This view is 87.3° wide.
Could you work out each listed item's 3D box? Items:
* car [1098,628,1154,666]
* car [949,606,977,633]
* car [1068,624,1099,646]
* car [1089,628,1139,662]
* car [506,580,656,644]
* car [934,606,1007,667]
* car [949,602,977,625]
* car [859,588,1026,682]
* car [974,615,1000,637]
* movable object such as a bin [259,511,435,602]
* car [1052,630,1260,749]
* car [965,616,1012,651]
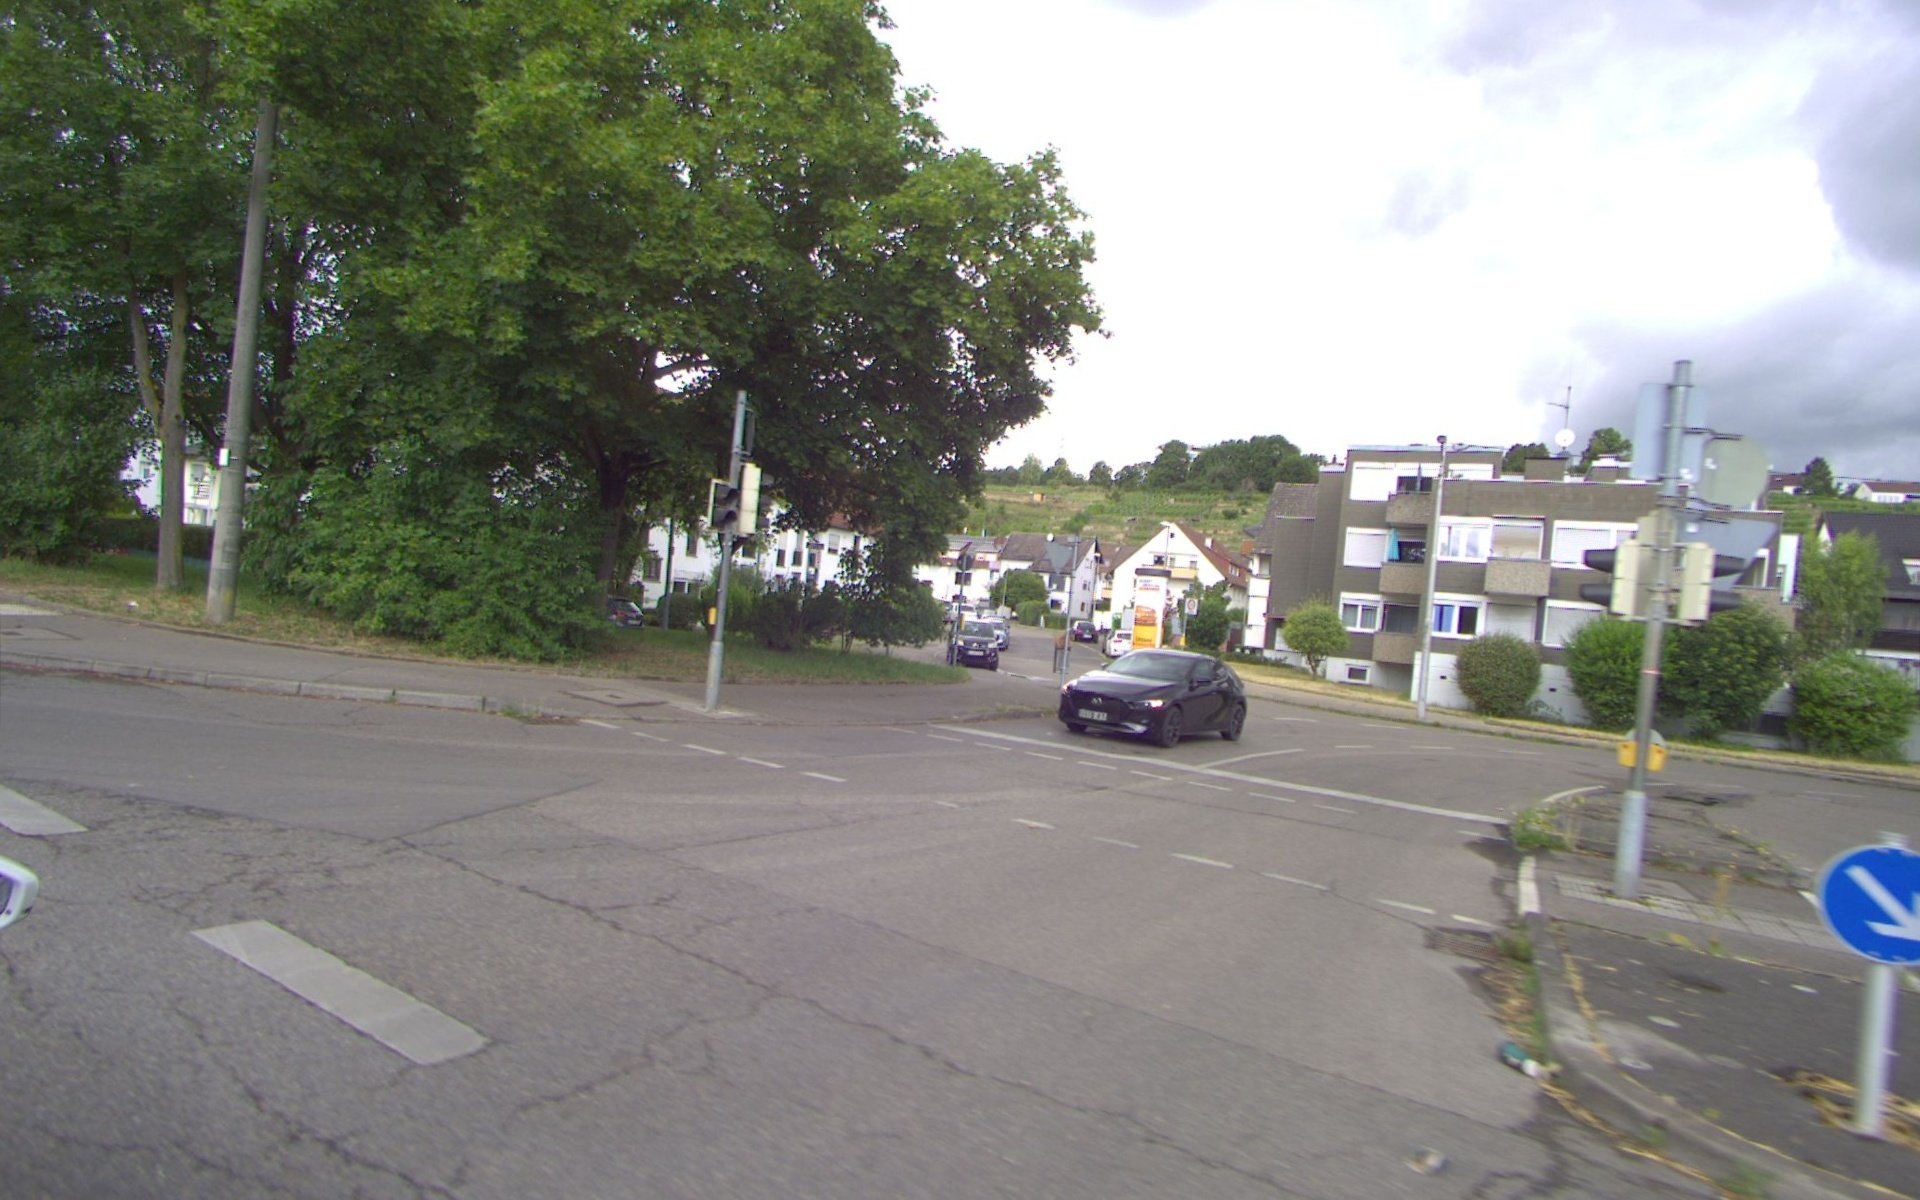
[{"bbox_3d":[8.276,2.335,50.497,1.963,1.536,3.999,7,-1,-1],"label":"car"},{"bbox_3d":[0.278,1.708,90.071,1.964,2.151,4.466,7,0,-4],"label":"car"},{"bbox_3d":[8.864,2.468,72.239,1.693,1.258,3.651,7,0,1],"label":"car"},{"bbox_3d":[8.529,2.455,55.968,1.963,1.536,3.999,7,-1,-1],"label":"car"},{"bbox_3d":[-12.120,0.382,32.225,4.208,1.478,1.667,7,-2,17],"label":"car"},{"bbox_3d":[0.294,1.297,35.579,1.965,1.785,4.000,7,-2,-6],"label":"car"},{"bbox_3d":[0.266,1.209,89.837,1.964,1.775,4.466,7,0,-4],"label":"car"},{"bbox_3d":[-0.412,0.966,26.667,3.974,2.038,1.975,7,0,-44],"label":"car"},{"bbox_3d":[2.983,2.878,111.958,1.965,2.151,4.463,7,0,-7],"label":"car"},{"bbox_3d":[-23.268,-1.651,38.185,6.155,2.653,2.002,6,-2,19],"label":"movable object such as a bin"},{"bbox_3d":[3.338,1.440,16.535,1.678,1.544,4.152,6,-1,36],"label":"car"},{"bbox_3d":[1.394,1.699,50.922,1.964,1.442,4.471,7,-3,-2],"label":"car"}]
